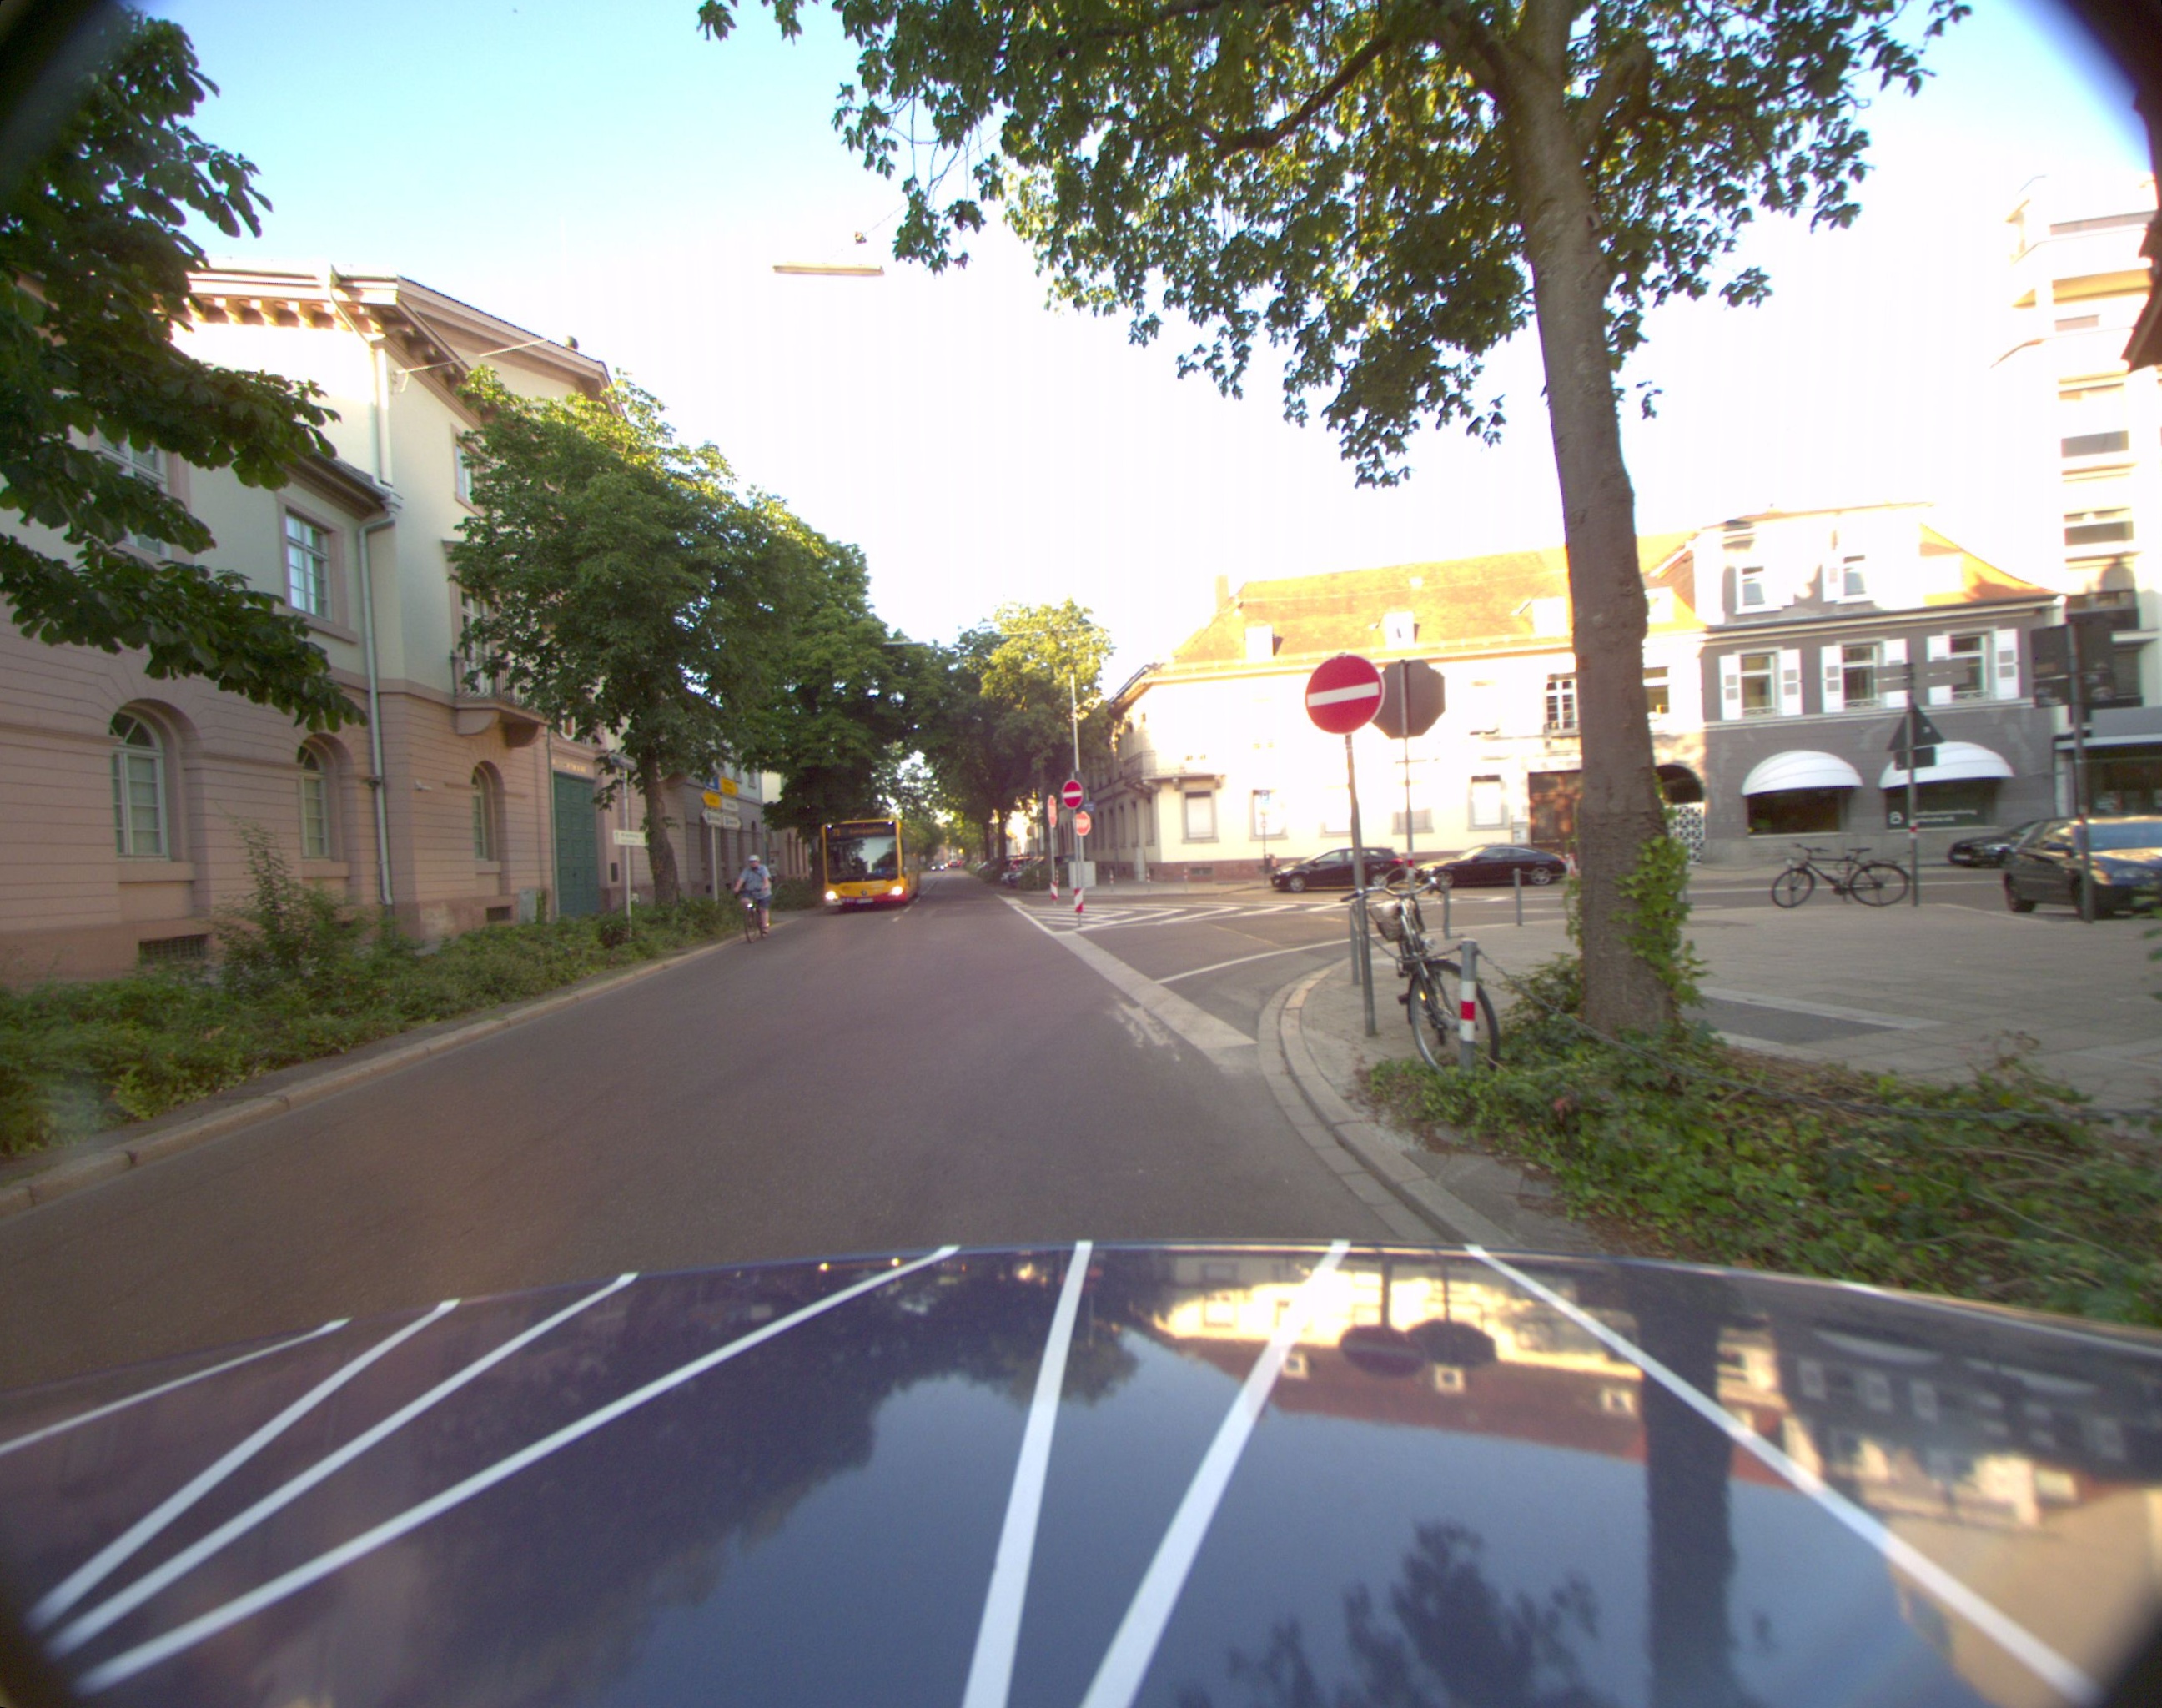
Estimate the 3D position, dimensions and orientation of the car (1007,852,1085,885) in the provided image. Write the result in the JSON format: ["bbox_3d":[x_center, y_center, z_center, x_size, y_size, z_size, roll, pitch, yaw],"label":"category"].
[{"bbox_3d":[-1.926,0.781,41.629,4.000,1.606,1.722,-3,1,-11],"label":"car"}]

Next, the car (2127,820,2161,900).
[{"bbox_3d":[20.620,0.085,13.265,1.764,1.502,4.638,-3,-1,41],"label":"car"}]

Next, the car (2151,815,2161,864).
[{"bbox_3d":[32.626,-0.499,20.401,4.493,1.379,1.749,-2,0,13],"label":"car"}]

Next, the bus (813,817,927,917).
[{"bbox_3d":[-7.887,0.424,30.076,2.713,2.983,12.072,-4,1,-9],"label":"bus"}]

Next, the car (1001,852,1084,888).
[{"bbox_3d":[-2.003,0.803,39.152,4.000,1.606,1.722,-3,1,-11],"label":"car"}]

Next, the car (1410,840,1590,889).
[{"bbox_3d":[13.571,0.351,24.948,4.848,1.386,1.781,-2,0,15],"label":"car"}]

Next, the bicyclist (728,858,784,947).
[{"bbox_3d":[-7.057,1.037,16.538,0.784,1.829,0.826,-5,1,-9],"label":"bicyclist"}]

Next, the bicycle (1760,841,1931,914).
[{"bbox_3d":[12.547,0.407,12.548,1.799,1.119,0.729,-3,-2,22],"label":"bicycle"}]

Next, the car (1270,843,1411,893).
[{"bbox_3d":[8.801,0.477,26.162,4.423,1.532,1.809,-2,0,14],"label":"car"}]

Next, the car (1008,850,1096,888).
[{"bbox_3d":[-1.441,0.719,36.817,4.000,1.606,1.827,-2,0,-11],"label":"car"}]

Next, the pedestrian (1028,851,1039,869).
[{"bbox_3d":[-4.655,0.605,74.182,0.895,1.760,1.020,-3,1,-10],"label":"pedestrian"}]

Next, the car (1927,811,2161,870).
[{"bbox_3d":[27.673,-0.378,21.837,4.242,1.438,1.750,-2,0,14],"label":"car"}]

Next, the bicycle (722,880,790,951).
[{"bbox_3d":[-7.051,1.300,16.613,0.784,1.322,2.076,-5,1,-9],"label":"bicycle"}]

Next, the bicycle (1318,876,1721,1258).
[{"bbox_3d":[1.957,0.803,3.997,0.845,1.260,2.573,-2,0,6],"label":"bicycle"}]

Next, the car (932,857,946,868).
[{"bbox_3d":[-23.775,1.412,127.302,2.083,1.687,3.997,-2,0,-8],"label":"car"}]

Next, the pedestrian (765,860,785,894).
[{"bbox_3d":[-17.058,1.282,42.348,0.801,1.821,0.928,-3,1,-11],"label":"pedestrian"}]

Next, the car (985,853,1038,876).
[{"bbox_3d":[-5.618,0.817,61.289,4.000,1.606,1.722,-3,1,-11],"label":"car"}]

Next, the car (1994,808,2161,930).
[{"bbox_3d":[14.434,0.203,10.341,1.736,1.452,3.872,-2,-3,38],"label":"car"}]
